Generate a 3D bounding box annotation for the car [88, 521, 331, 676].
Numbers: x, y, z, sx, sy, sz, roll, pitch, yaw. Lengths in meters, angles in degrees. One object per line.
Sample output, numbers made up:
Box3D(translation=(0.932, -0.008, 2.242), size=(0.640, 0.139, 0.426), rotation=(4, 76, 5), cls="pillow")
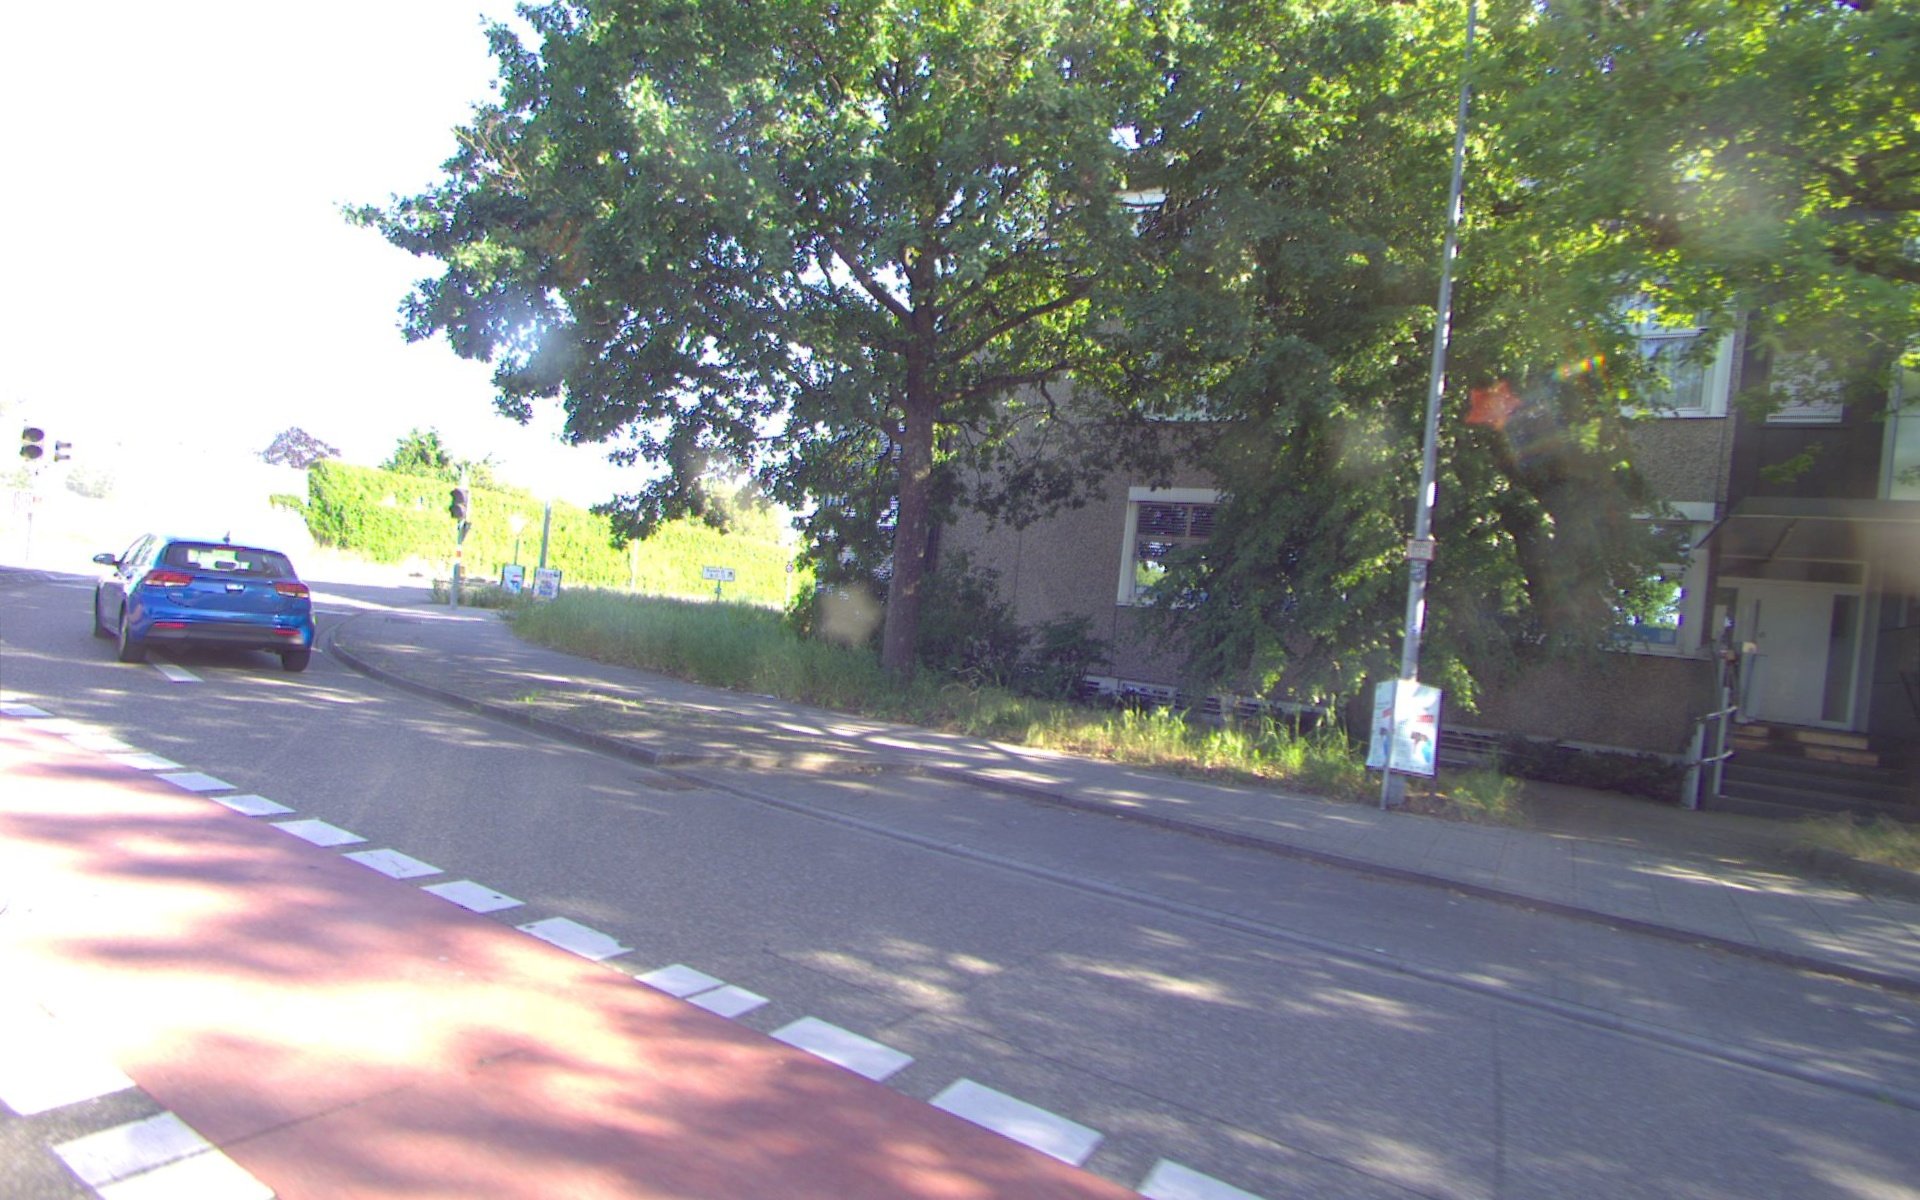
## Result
Box3D(translation=(-9.111, -0.077, 12.103), size=(3.745, 1.458, 1.727), rotation=(6, -1, 45), cls="car")
